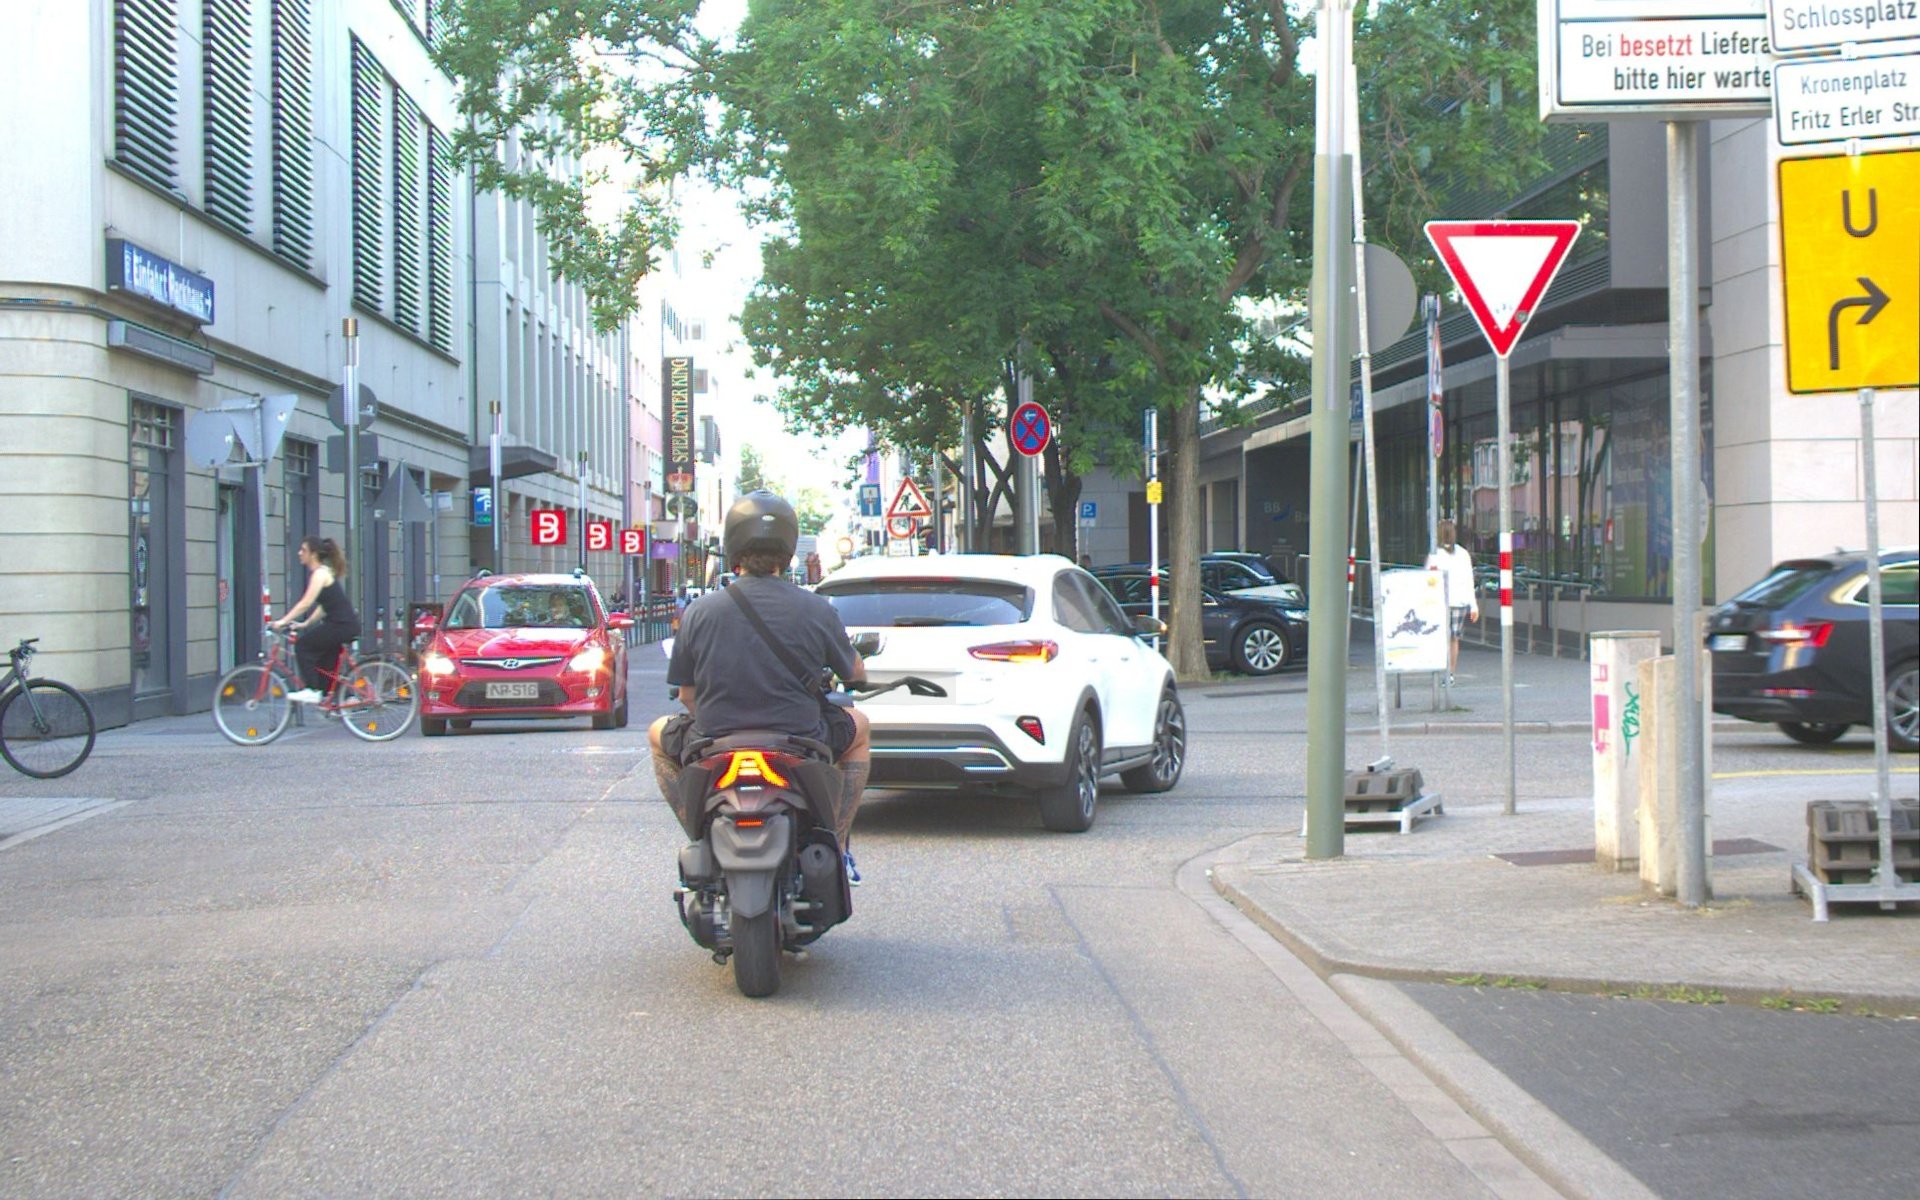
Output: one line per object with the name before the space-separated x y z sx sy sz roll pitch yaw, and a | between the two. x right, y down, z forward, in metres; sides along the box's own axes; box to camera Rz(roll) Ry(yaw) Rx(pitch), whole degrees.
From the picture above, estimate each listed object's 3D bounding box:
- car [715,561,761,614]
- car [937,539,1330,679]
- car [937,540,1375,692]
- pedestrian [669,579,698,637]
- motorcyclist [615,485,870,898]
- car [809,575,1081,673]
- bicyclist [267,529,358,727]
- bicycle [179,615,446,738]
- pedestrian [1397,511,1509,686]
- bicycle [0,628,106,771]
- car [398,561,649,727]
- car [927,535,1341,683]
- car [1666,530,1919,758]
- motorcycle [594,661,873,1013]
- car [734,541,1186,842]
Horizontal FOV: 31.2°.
car | -9.963 -0.578 154.012 1.993 2.321 5.021 1 0 -4
car | 2.298 0.124 46.459 5.004 1.494 2.000 -4 0 -4
car | 2.320 0.190 41.649 5.004 1.447 2.000 -4 0 -4
pedestrian | -7.501 0.207 93.389 0.732 1.569 0.636 0 0 -1
motorcyclist | -0.754 0.316 12.084 0.867 1.422 0.455 0 0 -1
car | -0.324 0.449 65.906 5.004 1.494 2.000 -4 0 -4
bicyclist | -5.354 0.229 28.455 0.630 1.620 0.498 0 0 3
bicycle | -5.354 0.629 28.462 2.102 0.992 0.518 0 0 4
pedestrian | 4.975 -0.017 34.745 0.905 1.700 0.834 -3 0 0
bicycle | -6.787 0.674 23.498 1.814 0.970 0.511 0 0 -10
car | -4.063 0.436 32.603 1.822 1.460 4.263 0 -1 0
car | 2.177 0.111 44.092 5.004 1.494 2.000 -4 0 -4
car | 7.520 0.270 24.921 4.349 1.536 1.829 -1 2 -6
motorcycle | -0.754 0.780 12.005 0.872 1.105 1.840 0 0 -1
car | 0.126 0.436 19.890 1.823 1.536 4.262 0 1 11
